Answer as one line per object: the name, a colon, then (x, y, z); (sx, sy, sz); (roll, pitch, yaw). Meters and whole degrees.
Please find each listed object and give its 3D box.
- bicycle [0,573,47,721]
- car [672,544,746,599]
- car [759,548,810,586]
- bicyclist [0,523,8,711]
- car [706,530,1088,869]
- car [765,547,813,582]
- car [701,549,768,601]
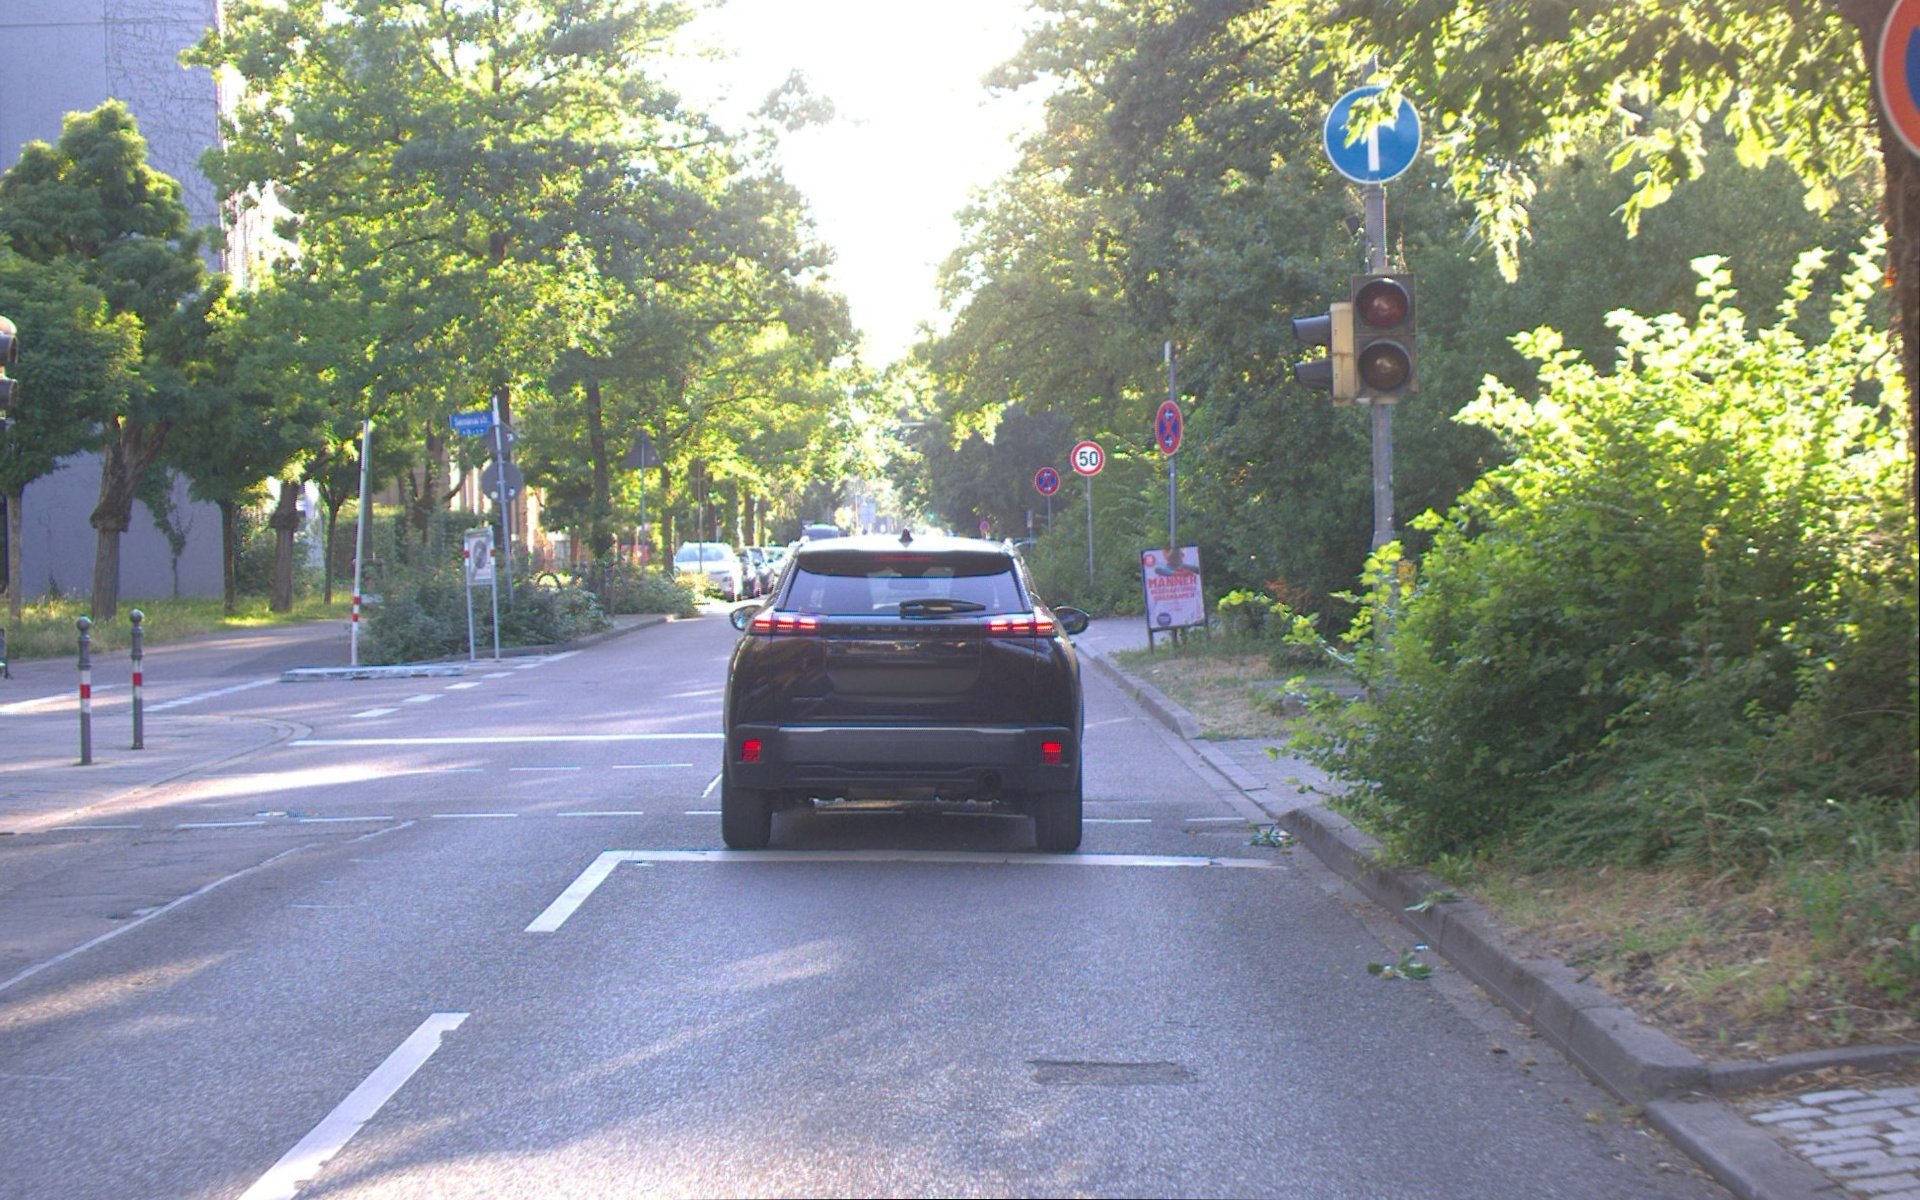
bicycle: (-8.597, 0.414, 29.036); (0.687, 1.245, 2.191); (0, 1, 16)
car: (-6.605, -0.768, 90.194); (1.810, 1.349, 4.001); (-2, 1, -5)
car: (-6.653, -1.280, 130.281); (1.810, 1.349, 3.980); (-2, 1, -4)
bicyclist: (-8.568, 0.149, 29.145); (0.676, 1.598, 0.706); (0, 1, 16)
car: (-0.328, 0.429, 17.736); (1.768, 1.563, 3.381); (-1, 1, -1)
car: (-6.999, -1.456, 140.339); (1.810, 1.349, 4.001); (-2, 1, -4)
car: (-6.338, -0.717, 96.441); (1.810, 1.349, 4.001); (-2, 1, -4)
